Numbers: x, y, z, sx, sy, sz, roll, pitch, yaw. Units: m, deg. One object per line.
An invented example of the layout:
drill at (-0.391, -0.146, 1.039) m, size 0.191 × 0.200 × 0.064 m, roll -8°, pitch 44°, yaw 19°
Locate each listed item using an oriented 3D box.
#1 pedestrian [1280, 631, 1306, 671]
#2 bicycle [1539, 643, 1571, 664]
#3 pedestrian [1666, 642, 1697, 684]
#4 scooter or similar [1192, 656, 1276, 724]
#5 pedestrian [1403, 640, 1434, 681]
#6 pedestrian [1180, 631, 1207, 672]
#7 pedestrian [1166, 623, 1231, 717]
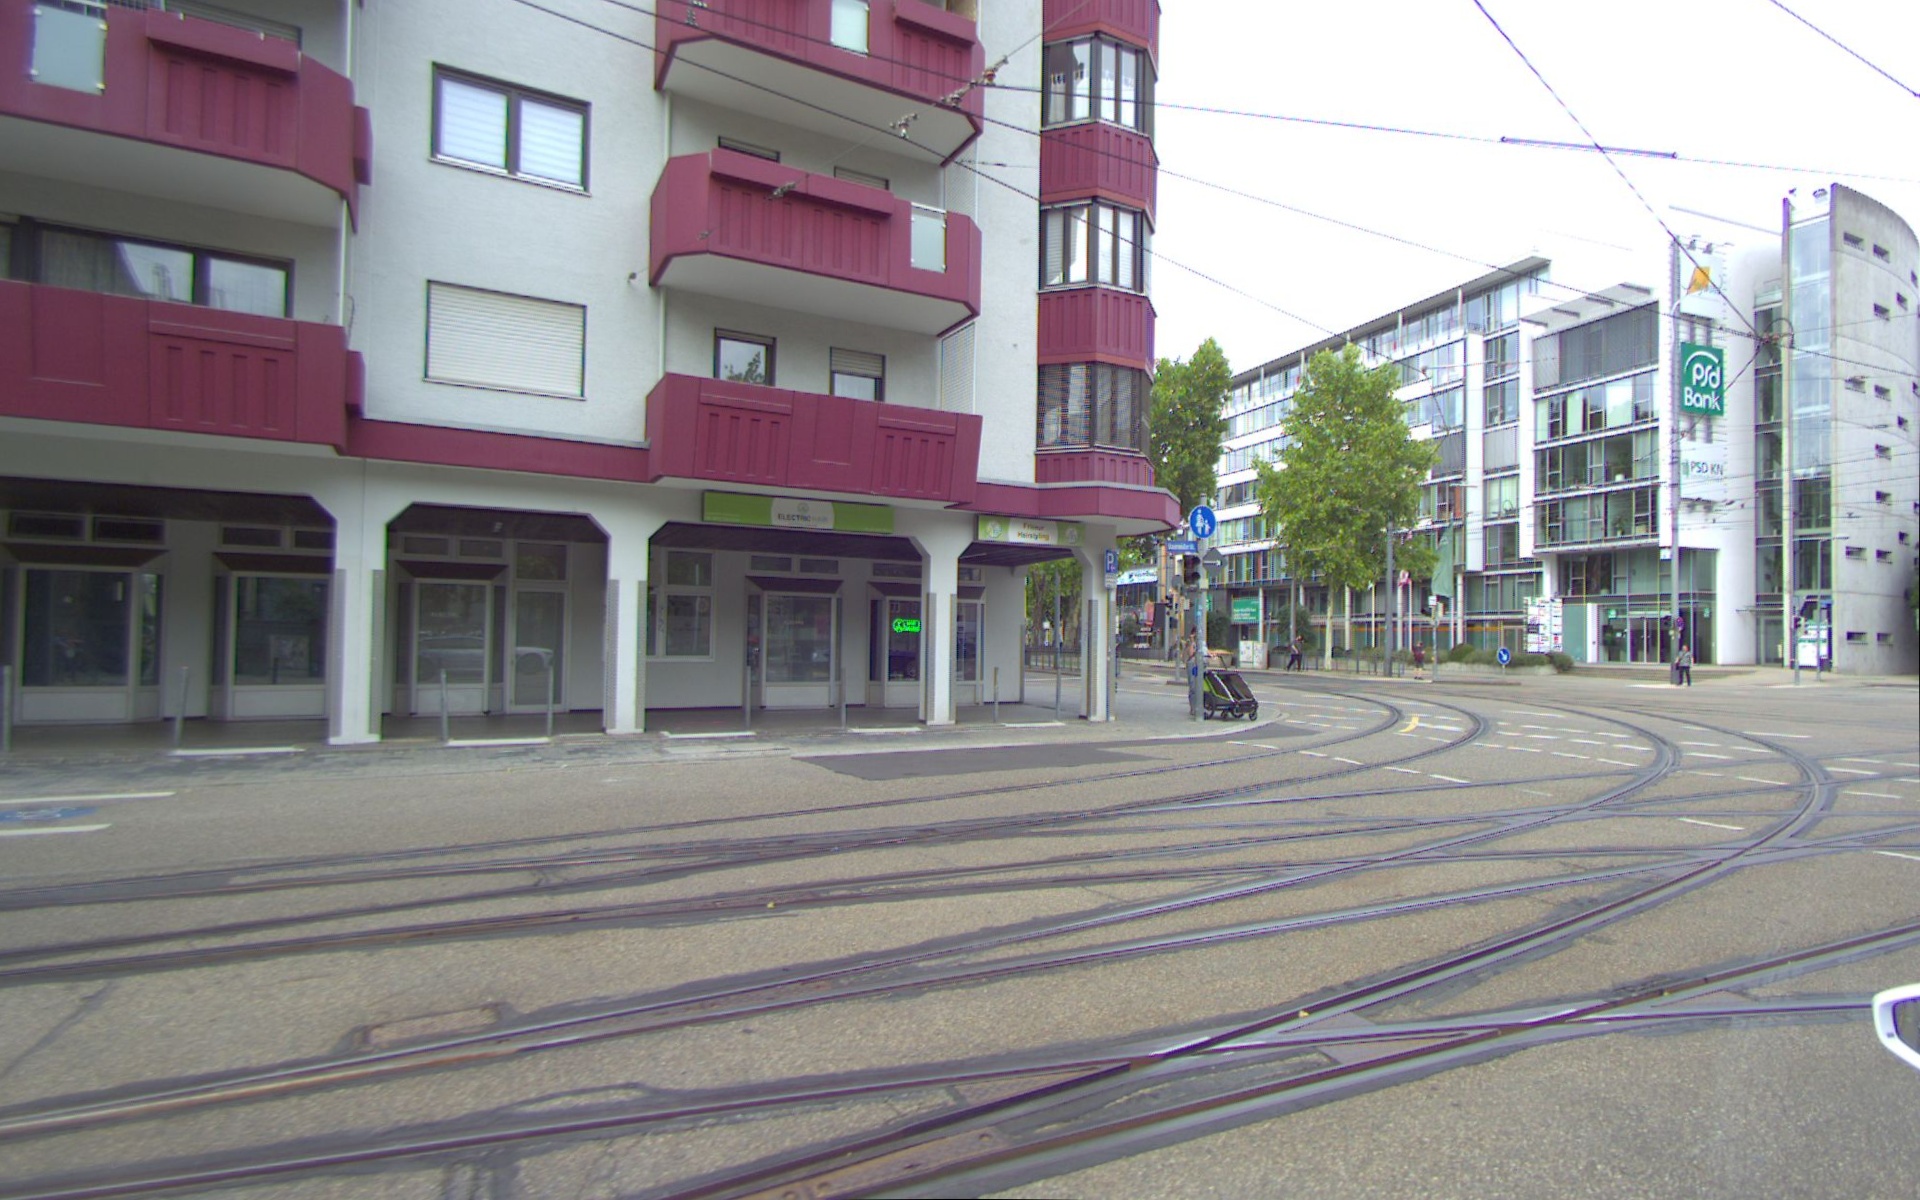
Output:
pedestrian at (15.922, 2.445, 48.011) m, size 0.830 × 1.880 × 0.839 m, roll 2°, pitch -2°, yaw -27°
bicycle at (37.255, 3.349, 62.897) m, size 2.085 × 1.192 × 0.583 m, roll 3°, pitch -1°, yaw -24°
pedestrian at (32.717, 2.847, 45.548) m, size 0.753 × 1.889 × 0.834 m, roll 1°, pitch -2°, yaw -13°
scooter or similar at (5.045, 1.633, 18.524) m, size 0.935 × 1.143 × 1.191 m, roll 2°, pitch -1°, yaw -28°
pedestrian at (19.226, 2.515, 42.116) m, size 0.753 × 1.693 × 0.936 m, roll 1°, pitch -2°, yaw -13°
pedestrian at (11.225, 2.466, 48.313) m, size 0.987 × 1.924 × 0.802 m, roll 1°, pitch -2°, yaw -18°
pedestrian at (4.592, 1.331, 19.354) m, size 0.802 × 1.766 × 0.943 m, roll 2°, pitch -2°, yaw -29°
